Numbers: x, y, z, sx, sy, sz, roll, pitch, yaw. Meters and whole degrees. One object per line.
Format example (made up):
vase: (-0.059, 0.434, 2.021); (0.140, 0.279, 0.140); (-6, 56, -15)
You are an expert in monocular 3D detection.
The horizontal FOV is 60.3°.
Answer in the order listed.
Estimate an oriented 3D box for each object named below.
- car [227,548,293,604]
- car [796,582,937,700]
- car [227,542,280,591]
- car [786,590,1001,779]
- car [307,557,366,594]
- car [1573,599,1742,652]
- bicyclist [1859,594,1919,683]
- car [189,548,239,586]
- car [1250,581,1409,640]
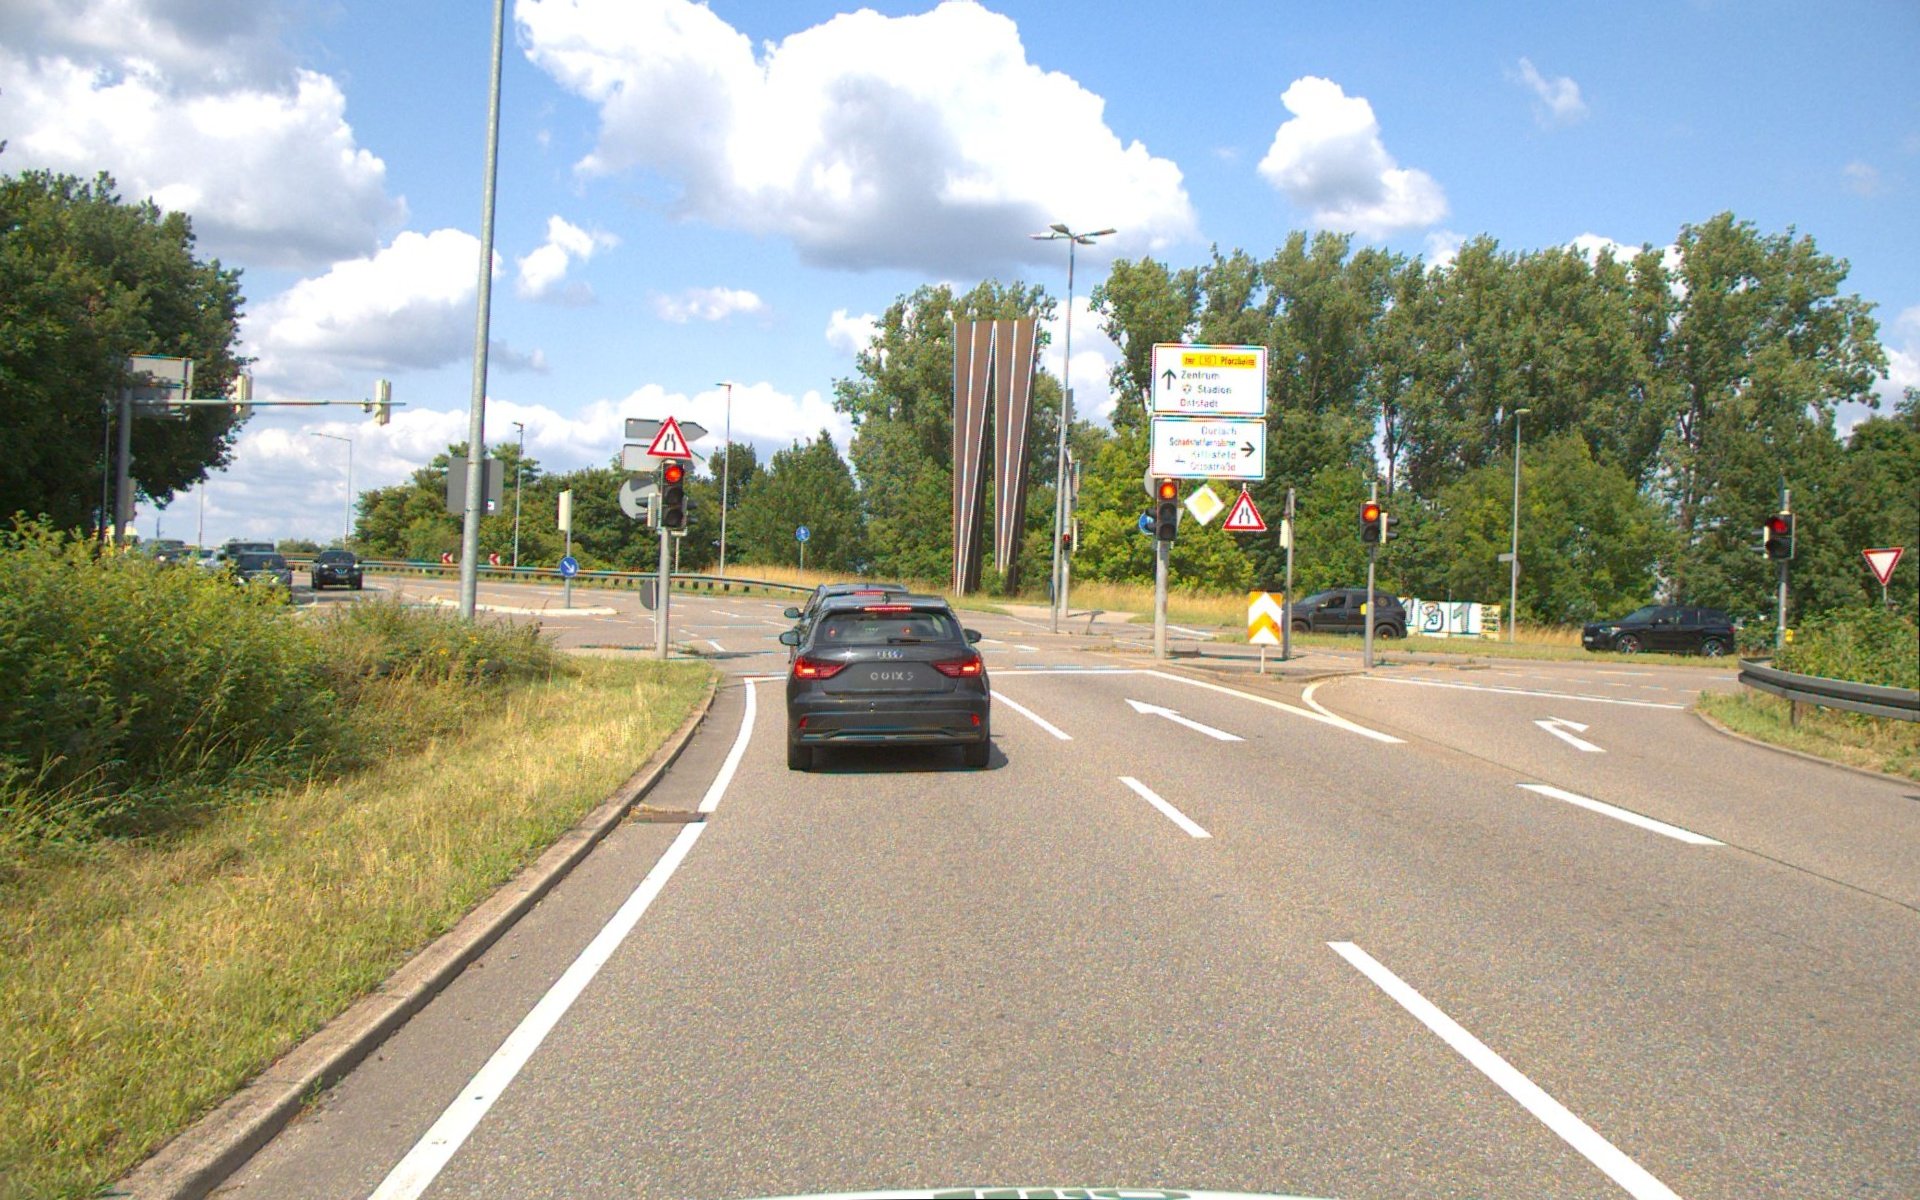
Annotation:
car: (-21.978, -0.709, 51.937); (1.814, 1.646, 3.970); (1, -1, -24)
car: (-1.368, 0.496, 22.840); (1.693, 1.448, 3.839); (-1, 1, -7)
car: (-28.007, -1.312, 65.538); (1.819, 1.833, 4.295); (1, 1, -24)
car: (-0.639, 0.649, 15.029); (1.692, 1.429, 3.997); (0, 1, -4)
car: (-26.094, -1.052, 69.156); (1.923, 1.443, 3.938); (2, 1, -26)
car: (22.508, 0.818, 53.435); (4.752, 1.572, 1.736); (1, 0, -4)
bicyclist: (17.009, 0.705, 30.192); (0.823, 1.587, 0.667); (2, 0, -24)
car: (-35.691, -1.579, 79.073); (1.823, 1.735, 4.286); (1, 1, -29)
car: (10.708, 0.300, 48.083); (4.184, 1.572, 1.736); (1, 0, -4)
